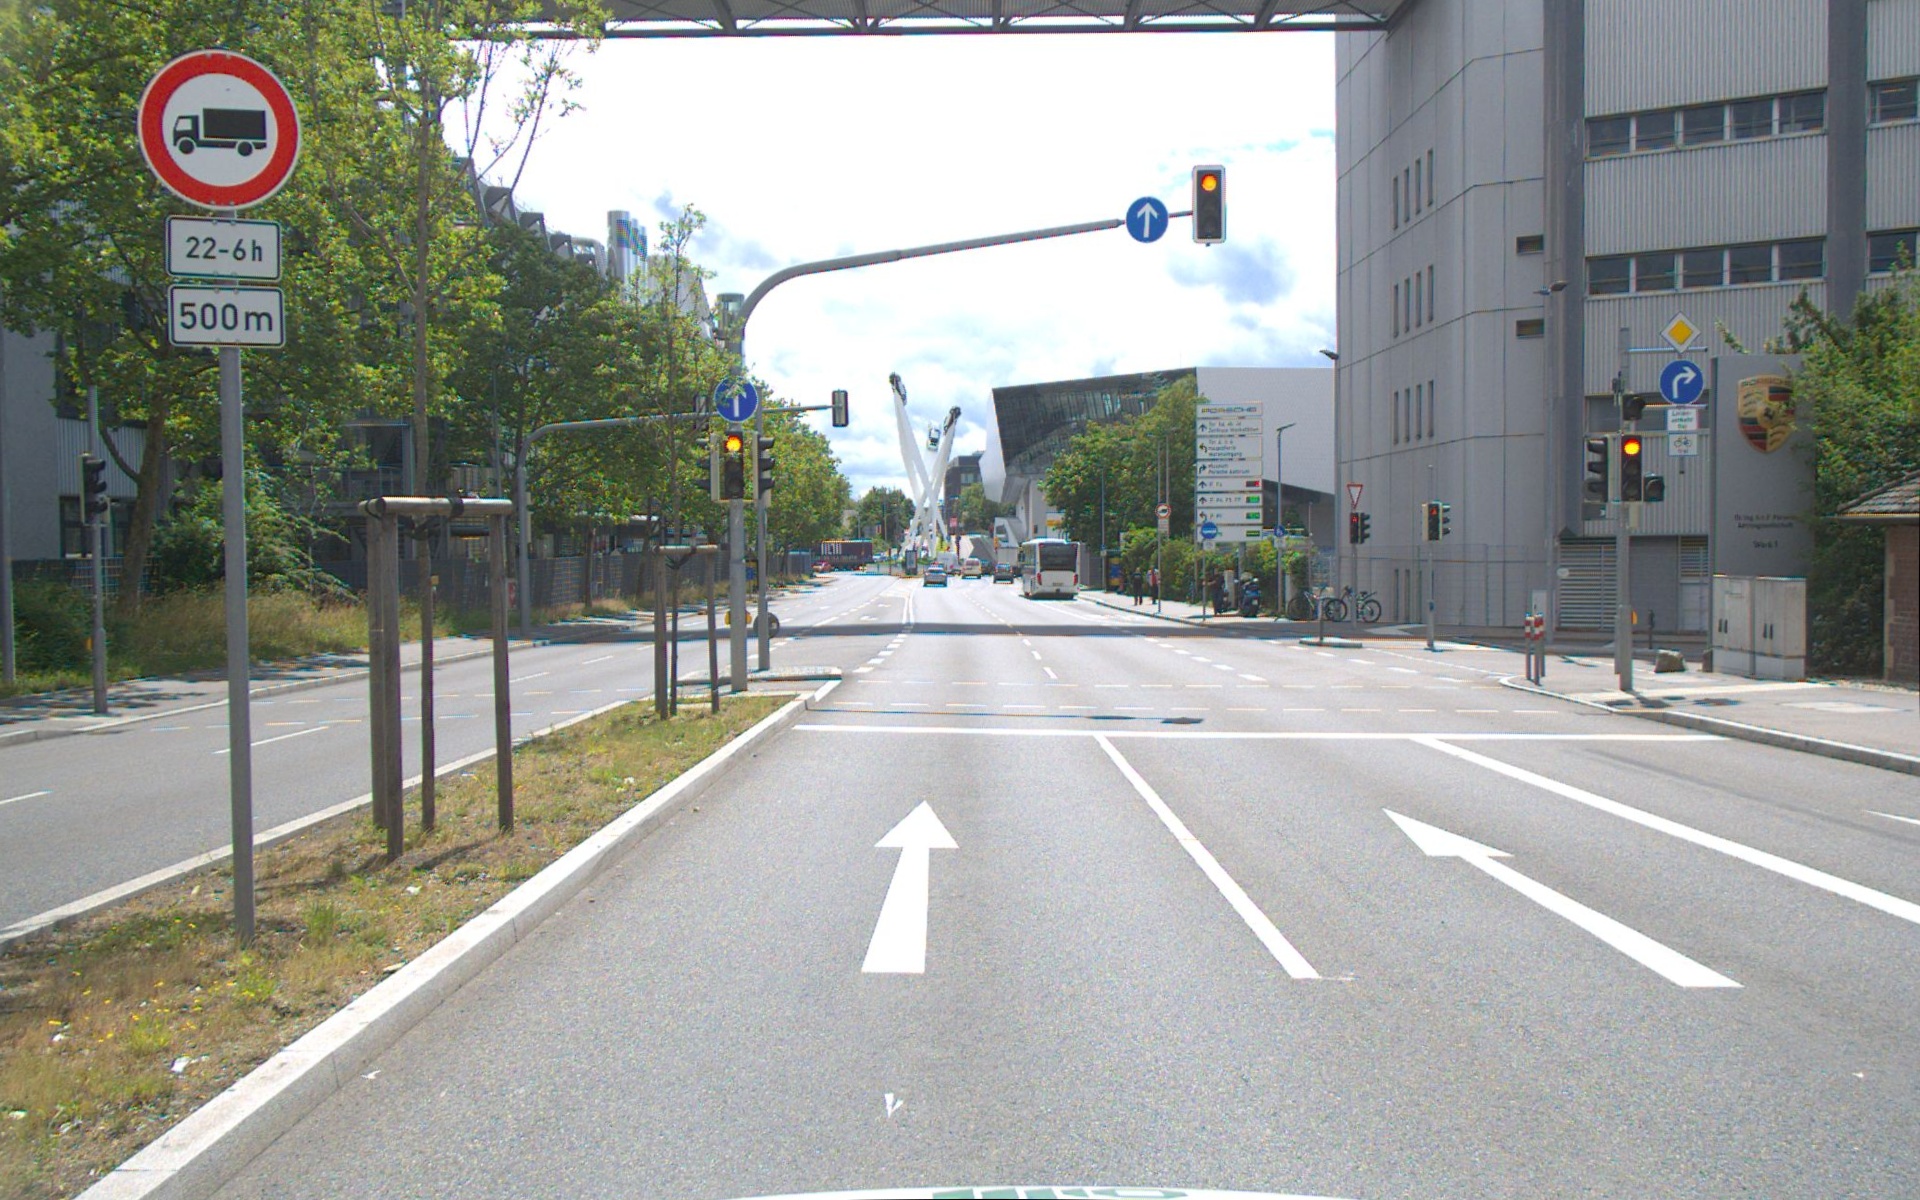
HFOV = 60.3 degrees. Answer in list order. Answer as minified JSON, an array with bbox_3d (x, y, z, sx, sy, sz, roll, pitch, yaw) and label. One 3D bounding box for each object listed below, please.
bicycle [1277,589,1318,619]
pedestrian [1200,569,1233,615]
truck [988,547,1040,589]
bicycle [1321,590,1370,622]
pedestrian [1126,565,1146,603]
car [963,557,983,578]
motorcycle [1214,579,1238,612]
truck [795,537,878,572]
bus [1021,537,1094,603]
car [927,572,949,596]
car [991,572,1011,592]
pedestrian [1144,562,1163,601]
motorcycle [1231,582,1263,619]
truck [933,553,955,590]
[{"bbox_3d":[10.905,0.123,53.468,0.391,0.953,1.918,0,1,-19],"label":"bicycle"},{"bbox_3d":[9.318,-0.312,60.125,0.834,1.653,0.951,1,1,41],"label":"pedestrian"},{"bbox_3d":[6.080,-3.504,183.874,3.380,4.468,9.425,0,1,17],"label":"truck"},{"bbox_3d":[11.917,0.184,51.186,0.392,0.953,1.913,0,1,-25],"label":"bicycle"},{"bbox_3d":[8.106,-0.735,76.161,0.803,1.737,0.881,0,0,0],"label":"pedestrian"},{"bbox_3d":[1.294,-3.294,168.834,1.953,2.049,3.999,1,-1,-1],"label":"car"},{"bbox_3d":[10.471,-0.188,65.158,0.562,1.224,2.024,-2,1,0],"label":"motorcycle"},{"bbox_3d":[-17.701,-6.503,237.792,12.054,4.399,3.523,2,-1,-41],"label":"truck"},{"bbox_3d":[5.561,-1.717,96.710,3.382,3.605,10.603,0,1,-1],"label":"bus"},{"bbox_3d":[-1.690,-1.236,127.880,1.703,1.772,3.691,0,1,0],"label":"car"},{"bbox_3d":[3.595,-1.615,146.174,1.703,1.772,3.691,0,1,0],"label":"car"},{"bbox_3d":[8.903,-0.839,76.136,0.803,1.772,0.637,0,0,-1],"label":"pedestrian"},{"bbox_3d":[9.947,0.001,57.385,0.692,1.224,2.024,-2,1,0],"label":"motorcycle"},{"bbox_3d":[-1.772,-3.129,183.029,2.343,3.965,6.177,0,1,0],"label":"truck"}]
